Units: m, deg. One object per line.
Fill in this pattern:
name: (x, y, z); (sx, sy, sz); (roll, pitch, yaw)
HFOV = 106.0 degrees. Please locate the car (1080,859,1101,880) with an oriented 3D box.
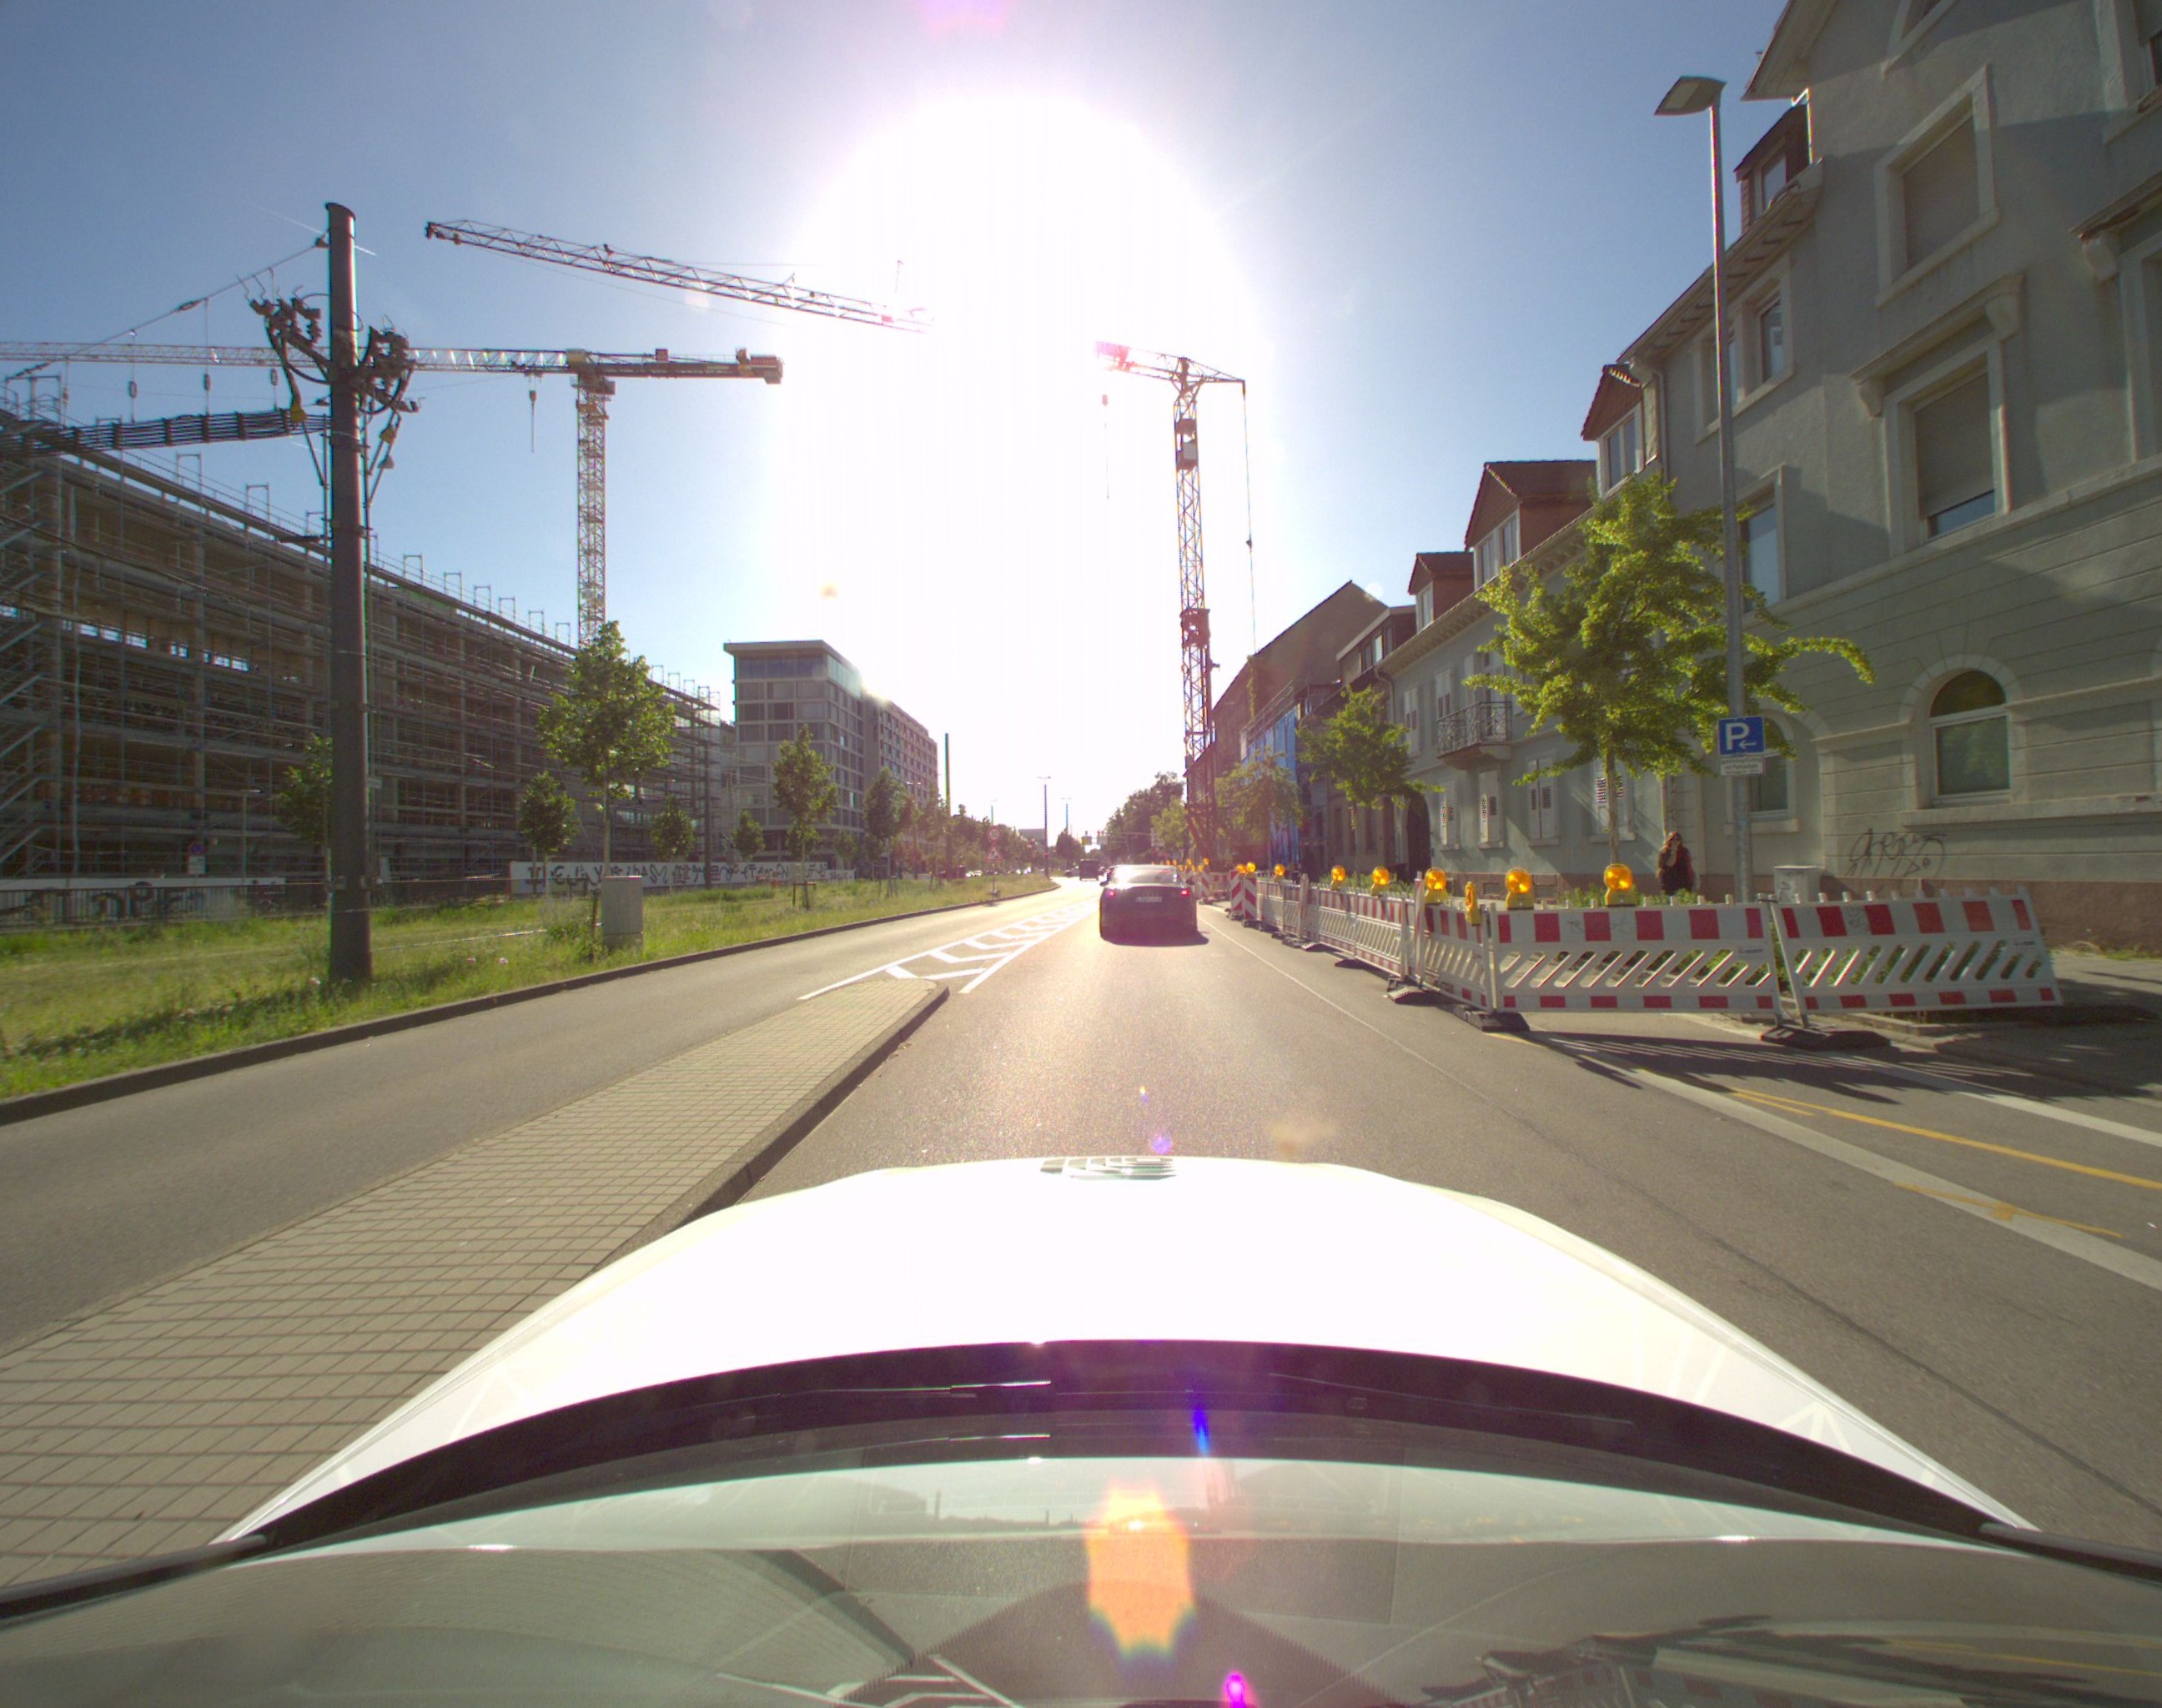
car: (0.966, 1.631, 86.990); (2.211, 2.267, 4.483); (0, -1, 0)

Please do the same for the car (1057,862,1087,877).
car: (-1.230, 2.123, 112.546); (3.961, 1.918, 1.914); (-1, -1, -1)

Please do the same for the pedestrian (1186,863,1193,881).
pedestrian: (11.453, 1.918, 86.198); (0.561, 1.821, 0.587); (-4, -1, 1)

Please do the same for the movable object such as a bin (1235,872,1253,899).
movable object such as a bin: (6.673, 1.288, 33.346); (0.585, 1.058, 0.731); (0, -1, 2)

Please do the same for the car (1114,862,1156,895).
car: (2.512, 1.120, 38.628); (1.741, 1.427, 4.839); (-1, -1, 1)

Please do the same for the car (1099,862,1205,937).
car: (1.413, 0.905, 17.941); (2.044, 1.444, 4.525); (0, -1, 1)

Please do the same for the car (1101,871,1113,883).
car: (4.164, 3.751, 132.029); (1.786, 1.874, 3.848); (0, -2, 0)

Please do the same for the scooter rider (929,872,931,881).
scooter rider: (-24.769, 3.753, 133.430); (0.341, 1.453, 0.239); (-2, -1, 1)

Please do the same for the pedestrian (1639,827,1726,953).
pedestrian: (9.520, 0.558, 12.918); (0.789, 1.928, 0.771); (-1, -1, 4)

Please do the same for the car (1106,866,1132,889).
car: (2.694, 1.649, 57.886); (1.743, 1.527, 4.006); (0, -1, 2)

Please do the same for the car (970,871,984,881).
car: (-18.772, 3.967, 147.217); (1.783, 1.651, 4.001); (-2, -1, 2)

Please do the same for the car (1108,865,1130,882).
car: (3.268, 1.693, 70.631); (1.786, 1.428, 3.848); (0, -1, 0)

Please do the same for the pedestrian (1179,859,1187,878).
pedestrian: (10.773, 1.535, 86.198); (0.656, 1.913, 0.587); (-4, -1, 0)

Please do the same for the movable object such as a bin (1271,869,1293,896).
movable object such as a bin: (8.238, 1.168, 33.435); (0.586, 1.058, 0.782); (-6, -1, -3)

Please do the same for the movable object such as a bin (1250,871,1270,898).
movable object such as a bin: (7.369, 1.254, 33.534); (0.593, 1.058, 0.731); (-5, -1, 2)
